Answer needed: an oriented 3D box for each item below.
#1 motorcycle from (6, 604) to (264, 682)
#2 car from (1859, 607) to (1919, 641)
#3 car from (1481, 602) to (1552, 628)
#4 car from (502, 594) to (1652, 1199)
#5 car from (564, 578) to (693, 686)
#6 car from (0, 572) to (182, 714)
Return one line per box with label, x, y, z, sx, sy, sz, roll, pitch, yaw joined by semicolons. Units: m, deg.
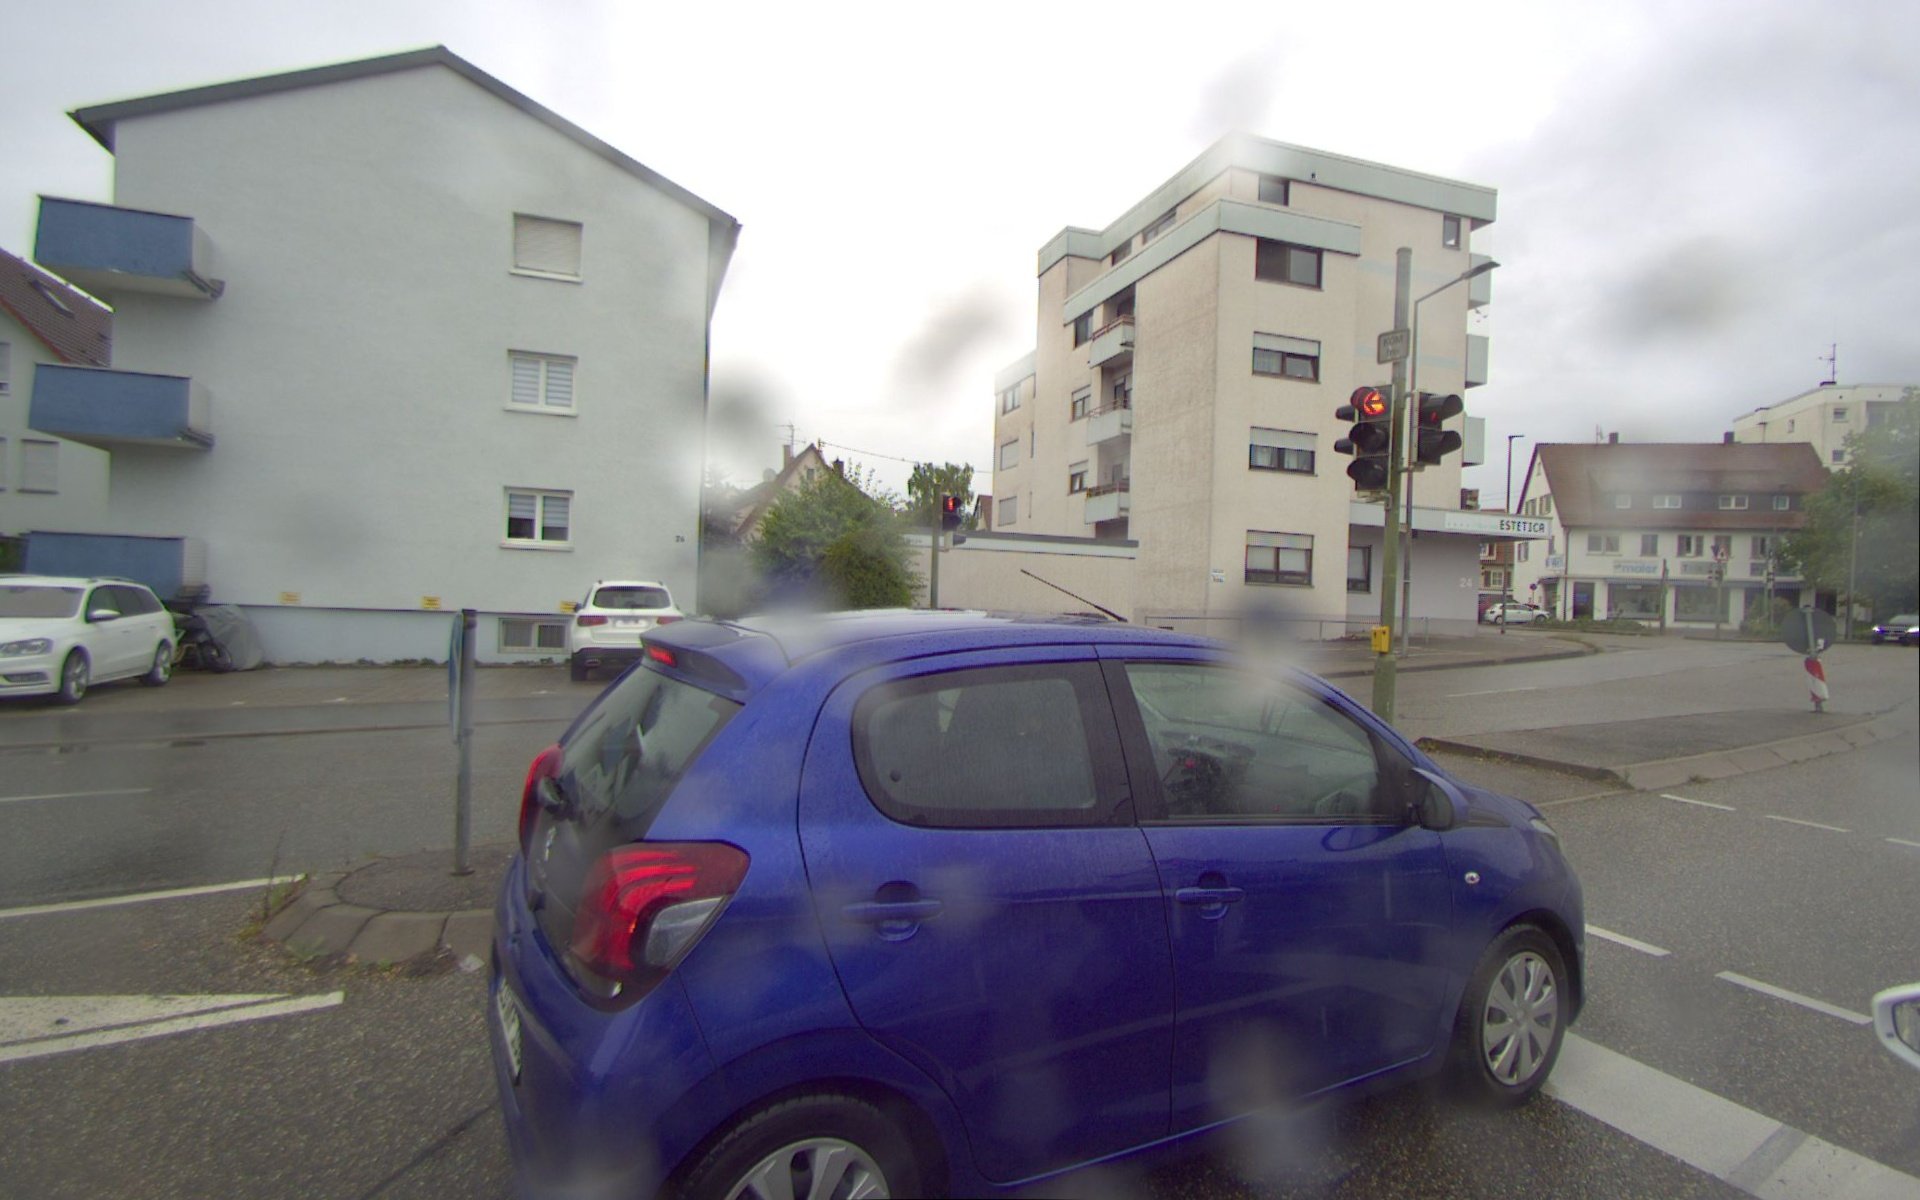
motorcycle;-13.111;0.644;16.084;0.864;1.115;3.113;2;1;43
car;42.333;1.060;45.157;3.785;1.439;1.770;1;0;-30
car;38.084;1.018;68.803;3.887;1.593;1.873;1;1;17
car;0.426;0.736;3.108;3.231;1.429;1.571;1;1;-30
car;-5.894;0.505;17.835;1.909;1.658;4.446;1;0;-19
car;-11.360;0.448;12.312;1.878;1.493;4.209;1;0;-24
